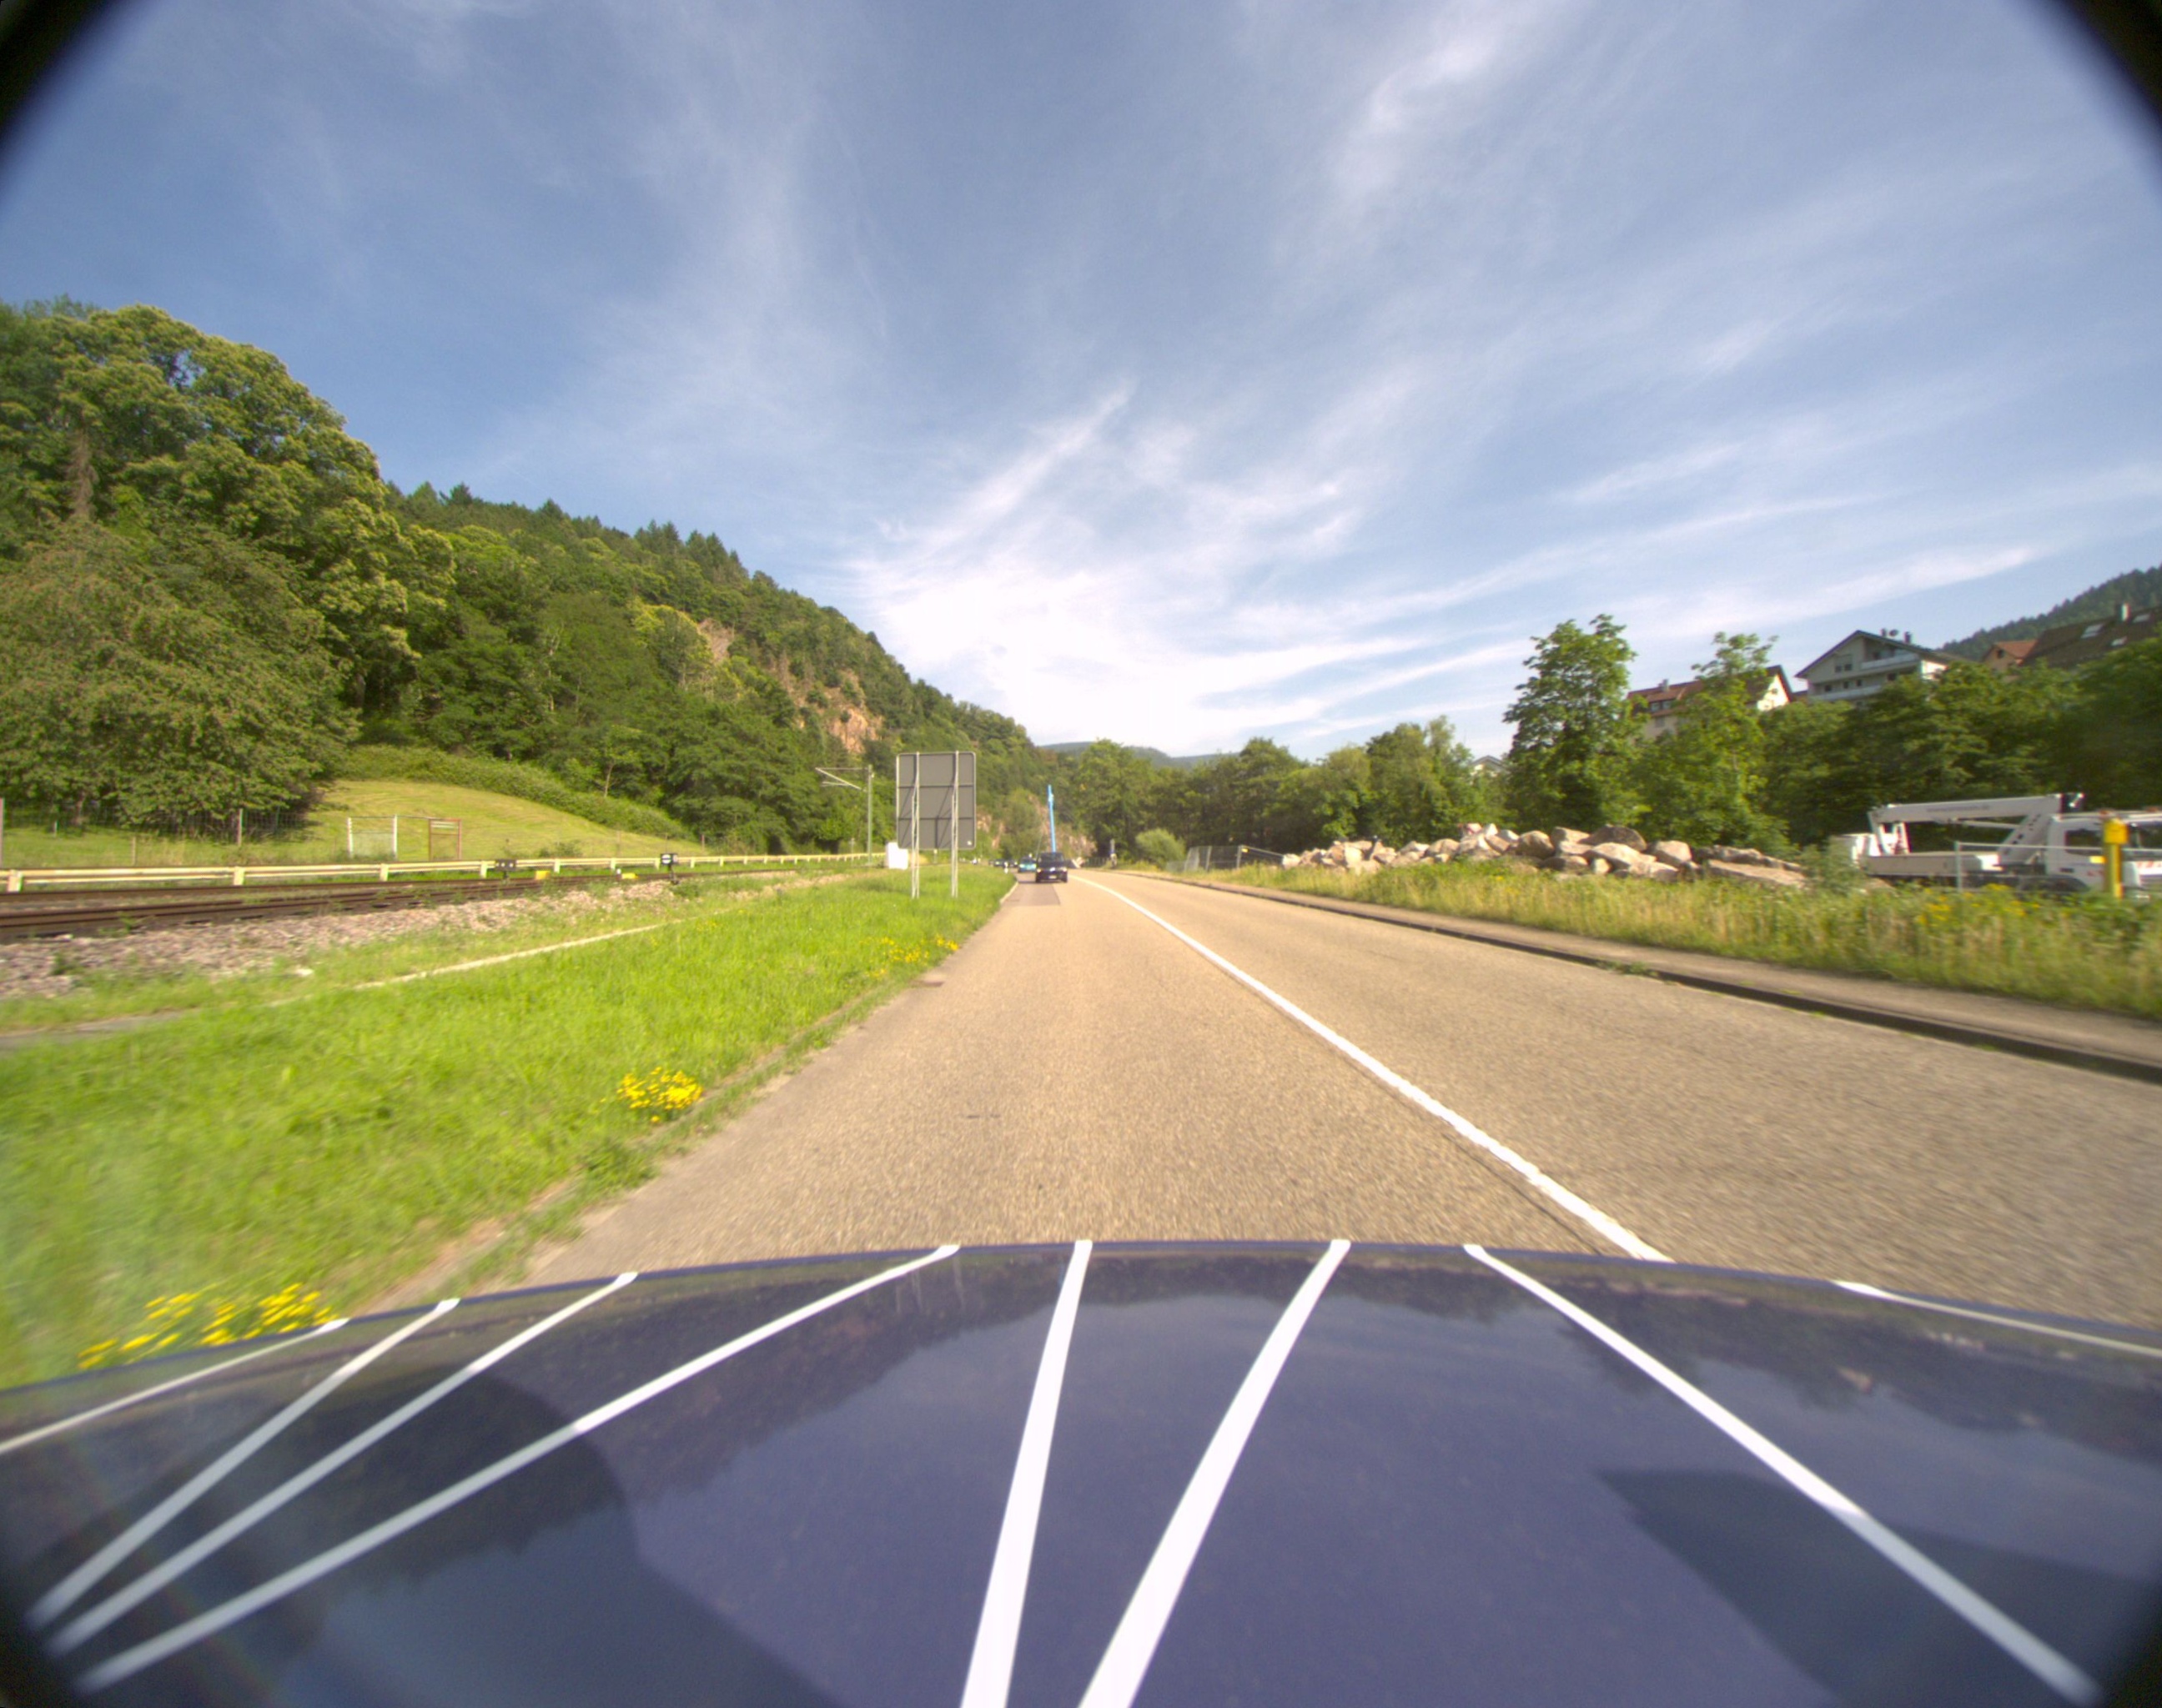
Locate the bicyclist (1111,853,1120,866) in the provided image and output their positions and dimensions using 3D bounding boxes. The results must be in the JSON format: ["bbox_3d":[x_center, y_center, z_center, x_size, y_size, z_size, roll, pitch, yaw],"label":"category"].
[{"bbox_3d":[3.207,0.538,70.752,0.686,1.218,0.857,-1,0,-7],"label":"bicyclist"}]

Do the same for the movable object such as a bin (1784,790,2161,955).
[{"bbox_3d":[25.916,0.471,22.155,2.907,3.924,7.803,1,0,-8],"label":"movable object such as a bin"}]

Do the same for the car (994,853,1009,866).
[{"bbox_3d":[-12.957,0.906,123.912,2.001,2.001,3.996,2,0,-11],"label":"car"}]

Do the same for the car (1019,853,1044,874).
[{"bbox_3d":[-5.111,0.929,77.417,2.001,2.001,3.996,2,0,-11],"label":"car"}]

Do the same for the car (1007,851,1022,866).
[{"bbox_3d":[-9.333,0.699,107.210,1.999,2.001,3.999,2,0,-3],"label":"car"}]

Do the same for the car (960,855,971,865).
[{"bbox_3d":[-24.002,1.233,158.034,2.000,2.001,3.998,2,0,-7],"label":"car"}]

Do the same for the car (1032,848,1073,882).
[{"bbox_3d":[-1.813,0.709,47.137,2.000,2.001,3.998,1,-2,-10],"label":"car"}]

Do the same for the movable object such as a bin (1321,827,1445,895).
[{"bbox_3d":[19.098,0.427,48.995,2.708,3.924,9.982,1,0,-8],"label":"movable object such as a bin"}]

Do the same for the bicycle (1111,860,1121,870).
[{"bbox_3d":[3.232,0.985,70.746,0.541,0.876,2.251,-2,0,-7],"label":"bicycle"}]

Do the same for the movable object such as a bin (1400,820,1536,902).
[{"bbox_3d":[20.308,0.368,40.468,2.730,3.924,7.224,1,0,-8],"label":"movable object such as a bin"}]
